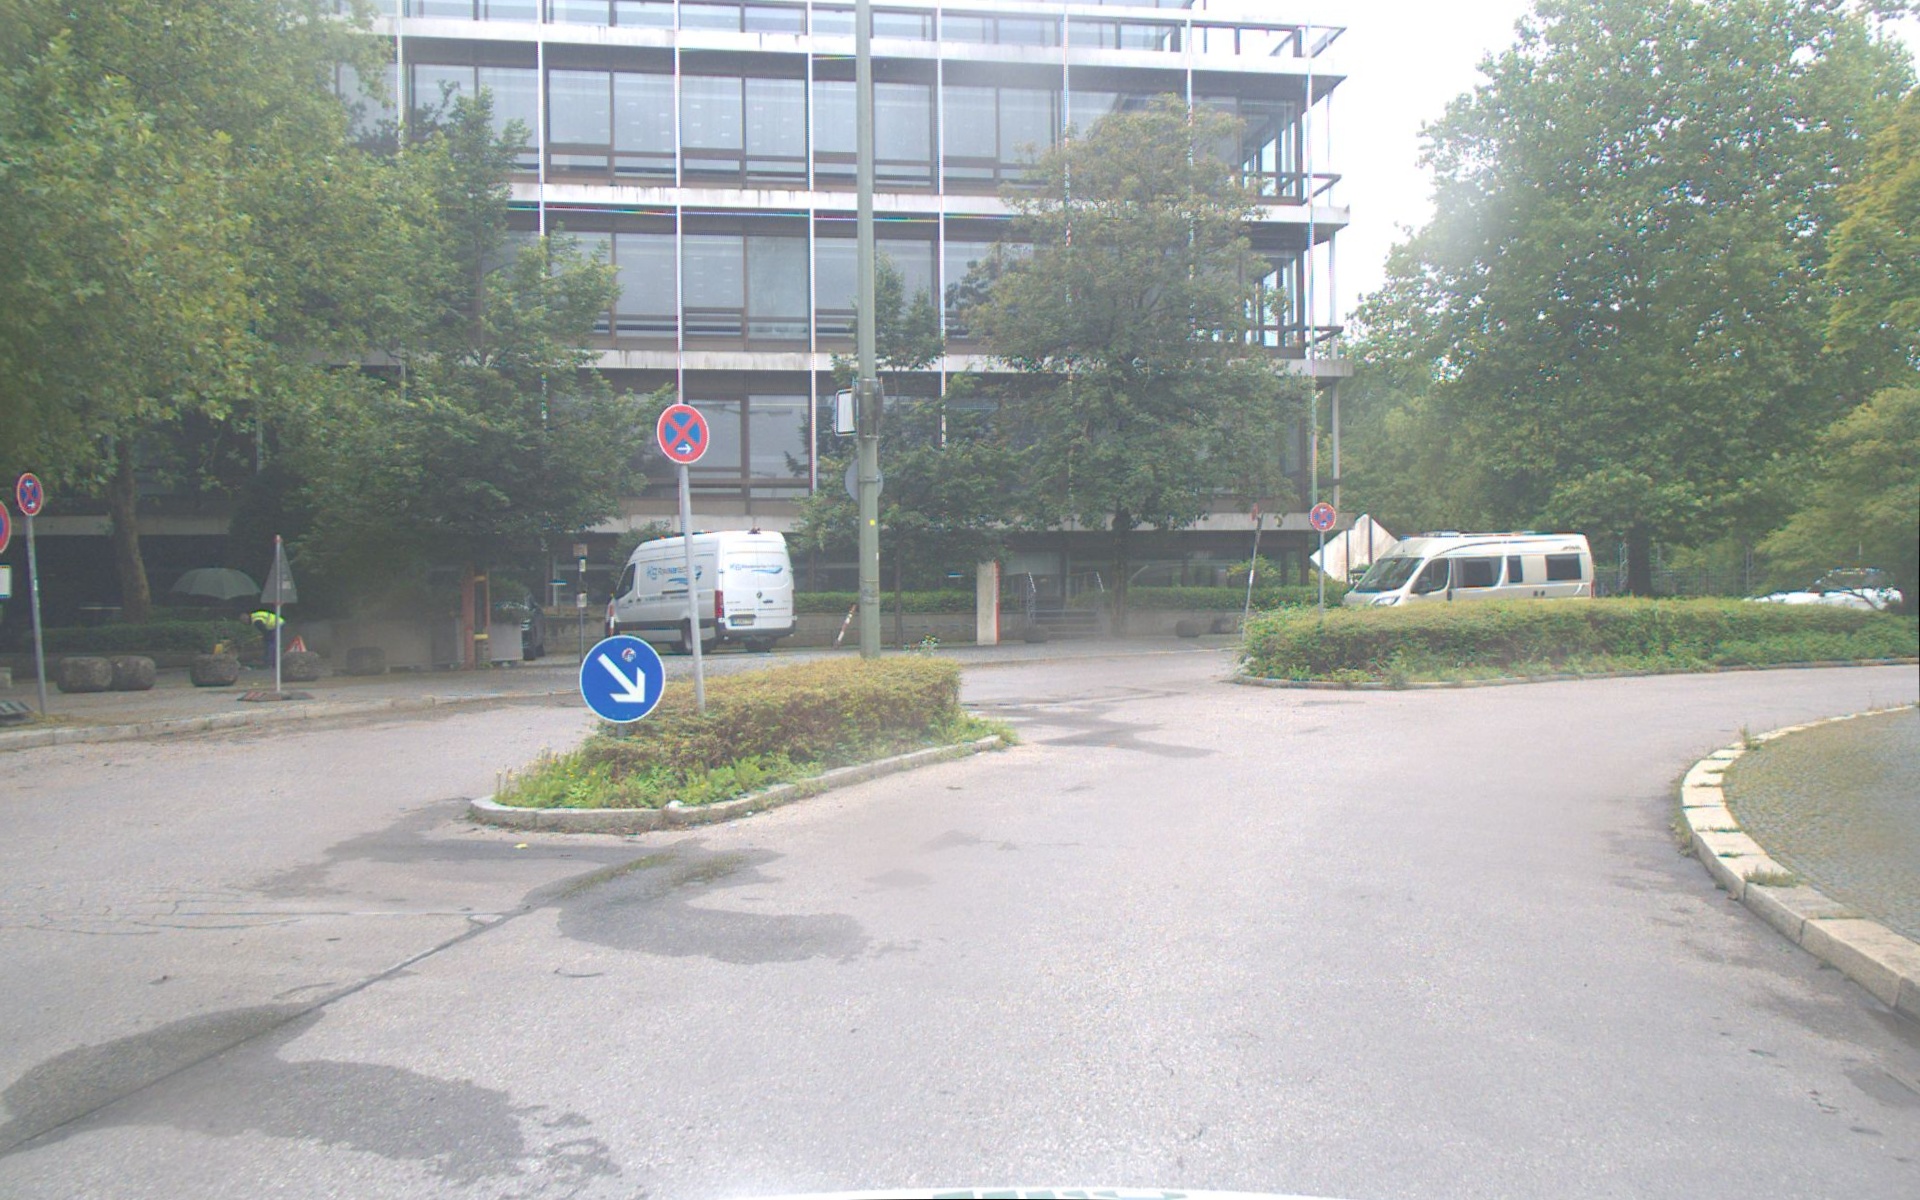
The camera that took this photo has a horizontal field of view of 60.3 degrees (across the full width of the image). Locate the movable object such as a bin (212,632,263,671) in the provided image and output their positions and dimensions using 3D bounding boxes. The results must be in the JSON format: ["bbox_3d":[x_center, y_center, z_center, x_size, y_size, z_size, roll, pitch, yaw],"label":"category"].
[{"bbox_3d":[-14.933,1.064,34.206,0.818,0.766,0.571,0,0,-7],"label":"movable object such as a bin"}]

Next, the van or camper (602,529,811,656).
[{"bbox_3d":[-5.944,-0.075,37.972,2.138,2.626,6.459,0,-2,-34],"label":"van or camper"}]

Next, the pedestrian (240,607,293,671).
[{"bbox_3d":[-14.392,0.805,34.337,0.908,1.300,0.541,0,0,-8],"label":"pedestrian"}]

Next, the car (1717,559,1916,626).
[{"bbox_3d":[20.991,-0.191,40.620,3.912,1.534,1.996,-1,0,-8],"label":"car"}]

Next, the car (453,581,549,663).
[{"bbox_3d":[-10.478,0.466,38.009,1.908,1.751,4.225,-1,0,-13],"label":"car"}]

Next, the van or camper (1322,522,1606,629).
[{"bbox_3d":[11.592,-0.578,37.980,6.312,2.321,2.239,-1,0,-24],"label":"van or camper"}]
